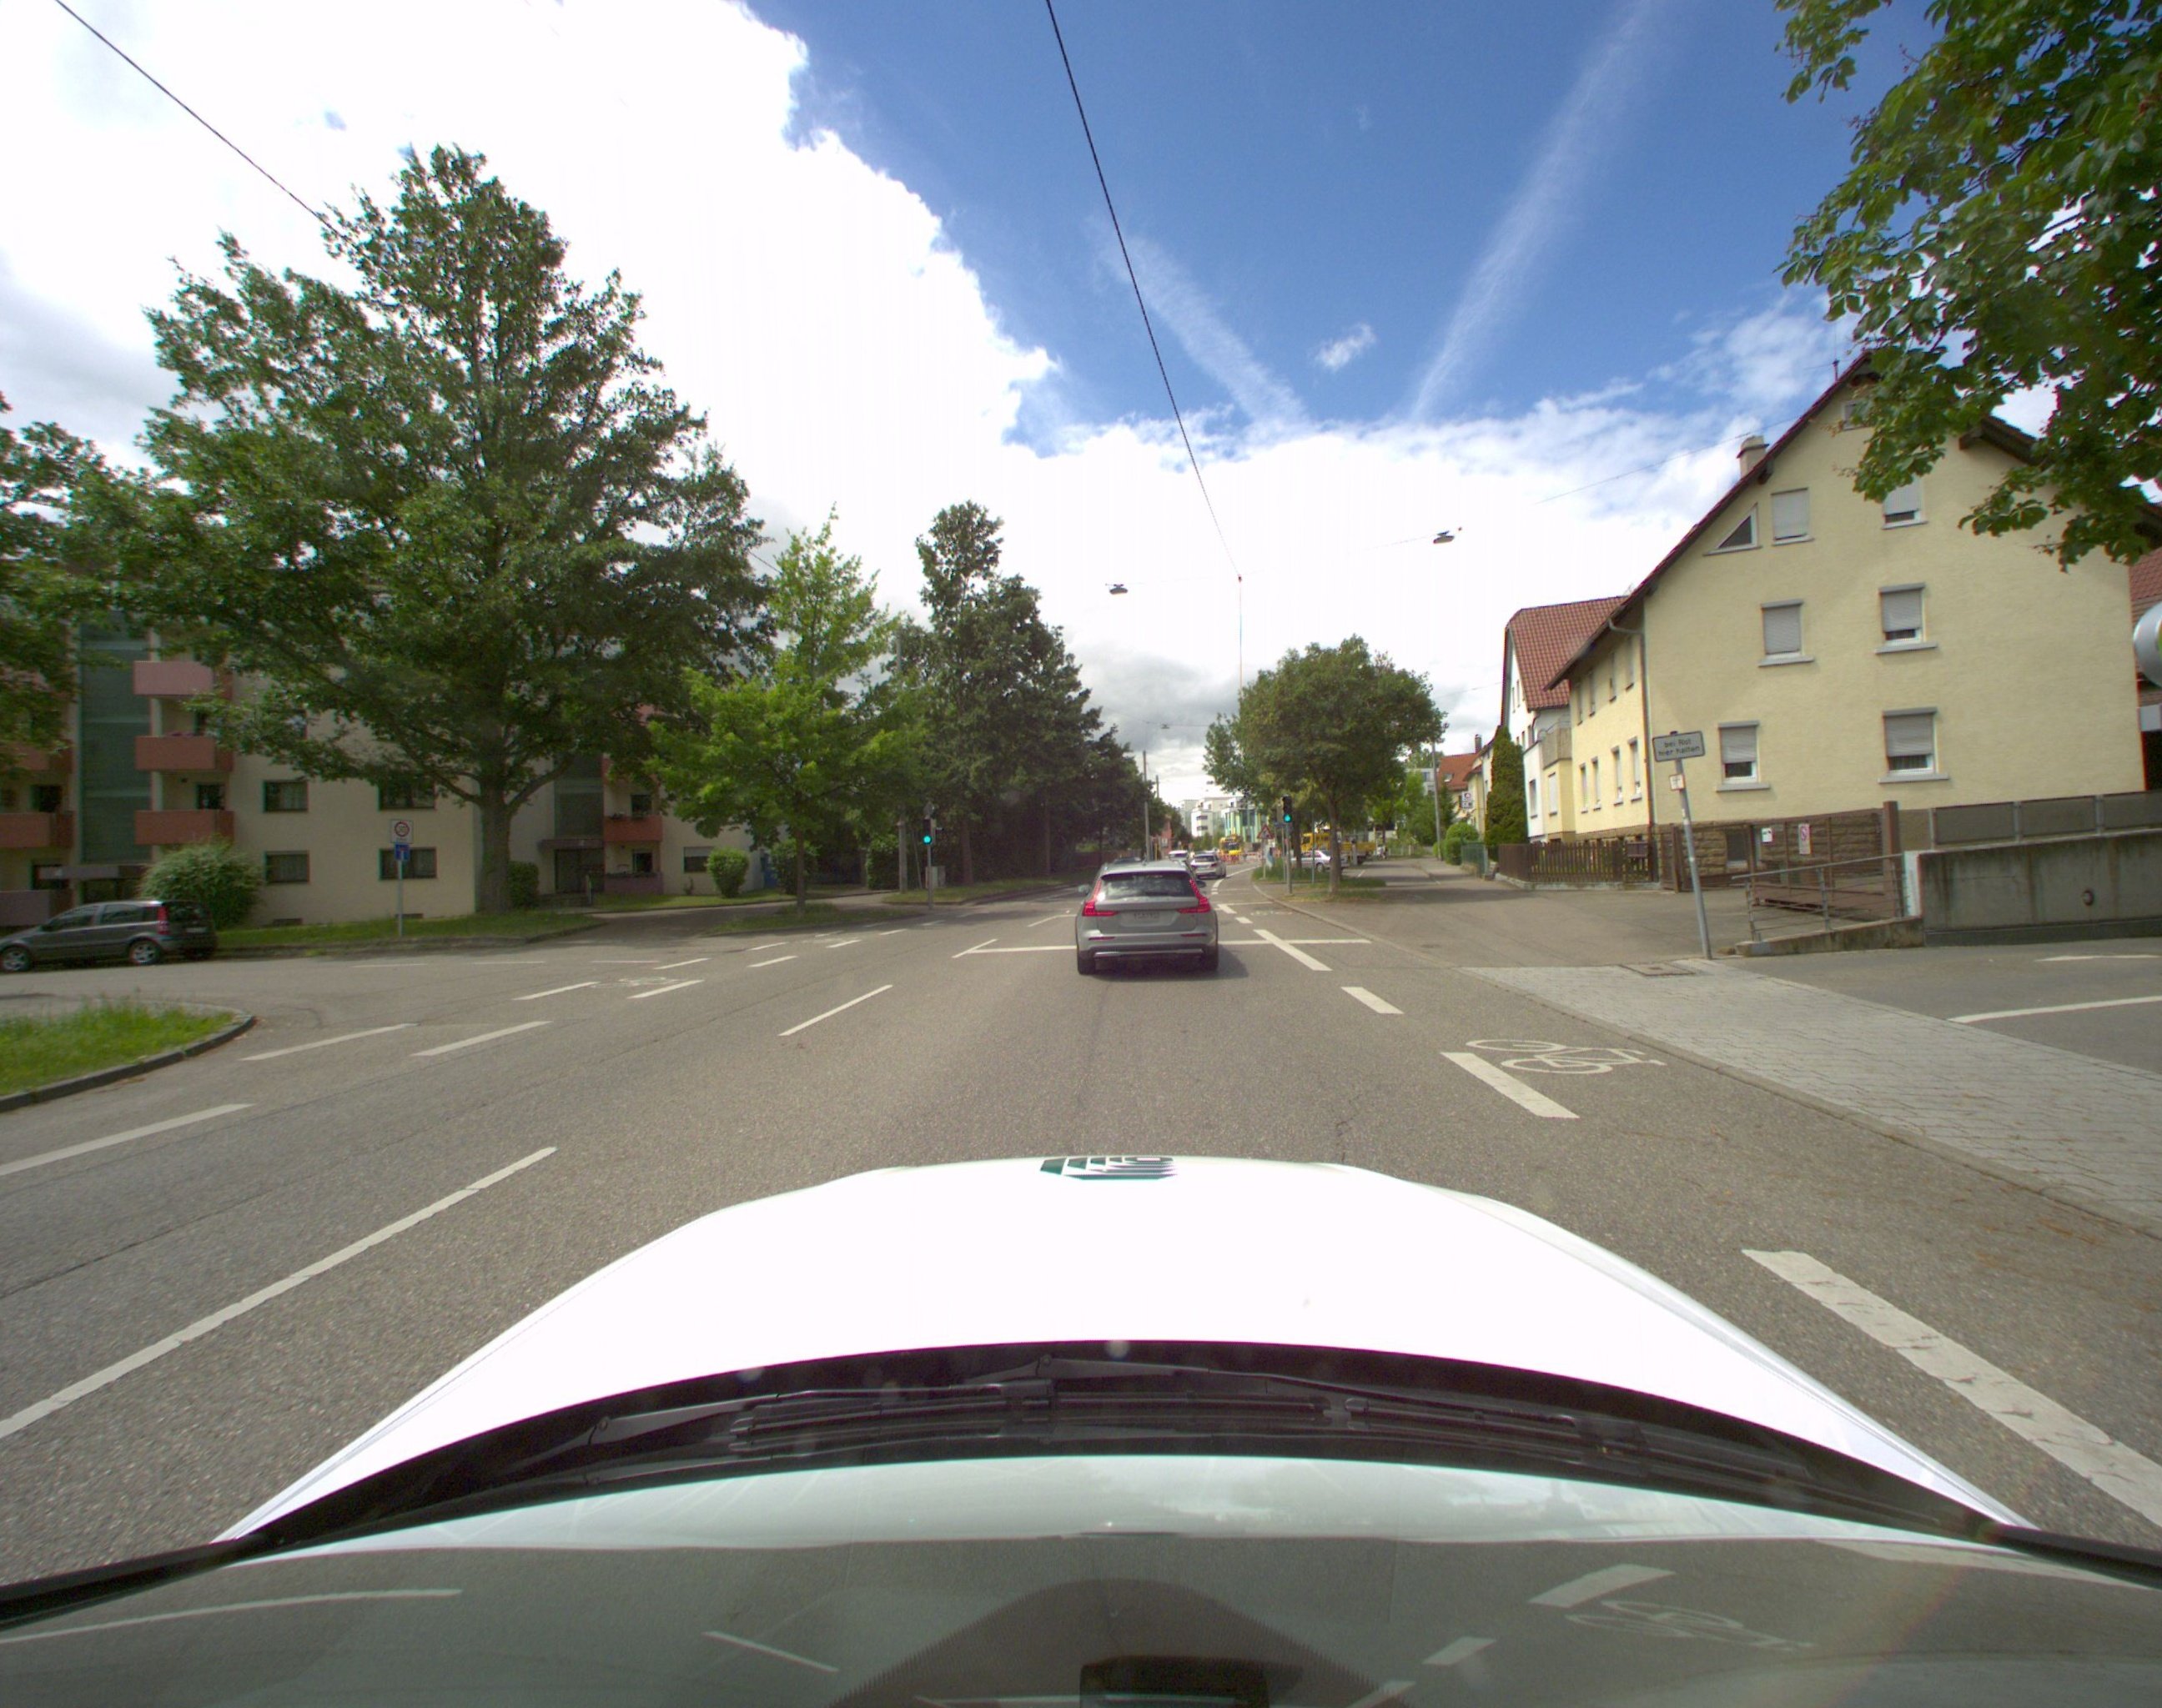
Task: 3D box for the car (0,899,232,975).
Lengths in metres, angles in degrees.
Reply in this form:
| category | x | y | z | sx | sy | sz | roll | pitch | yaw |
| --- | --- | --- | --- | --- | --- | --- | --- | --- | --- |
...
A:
| category | x | y | z | sx | sy | sz | roll | pitch | yaw |
| --- | --- | --- | --- | --- | --- | --- | --- | --- | --- |
| car | -22.946 | 1.910 | 18.988 | 3.996 | 1.452 | 1.687 | -2 | 0 | -16 |

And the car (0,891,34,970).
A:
| category | x | y | z | sx | sy | sz | roll | pitch | yaw |
| --- | --- | --- | --- | --- | --- | --- | --- | --- | --- |
| car | -27.251 | 1.905 | 18.464 | 3.990 | 1.844 | 1.838 | -3 | 0 | -12 |

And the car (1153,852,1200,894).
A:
| category | x | y | z | sx | sy | sz | roll | pitch | yaw |
| --- | --- | --- | --- | --- | --- | --- | --- | --- | --- |
| car | 3.644 | 0.714 | 31.453 | 1.654 | 1.508 | 3.706 | 1 | -1 | 4 |

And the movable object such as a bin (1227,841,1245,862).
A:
| category | x | y | z | sx | sy | sz | roll | pitch | yaw |
| --- | --- | --- | --- | --- | --- | --- | --- | --- | --- |
| movable object such as a bin | 20.559 | -0.365 | 107.808 | 2.020 | 2.643 | 5.961 | -3 | 0 | 13 |

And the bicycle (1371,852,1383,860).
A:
| category | x | y | z | sx | sy | sz | roll | pitch | yaw |
| --- | --- | --- | --- | --- | --- | --- | --- | --- | --- |
| bicycle | 28.530 | 0.201 | 78.523 | 0.592 | 0.812 | 1.754 | 0 | -1 | 1 |

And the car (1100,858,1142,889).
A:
| category | x | y | z | sx | sy | sz | roll | pitch | yaw |
| --- | --- | --- | --- | --- | --- | --- | --- | --- | --- |
| car | 2.306 | 1.087 | 46.176 | 1.888 | 1.580 | 4.010 | -3 | -1 | 9 |

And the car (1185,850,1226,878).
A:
| category | x | y | z | sx | sy | sz | roll | pitch | yaw |
| --- | --- | --- | --- | --- | --- | --- | --- | --- | --- |
| car | 7.288 | 0.583 | 47.504 | 2.088 | 1.510 | 4.013 | 1 | -1 | 12 |

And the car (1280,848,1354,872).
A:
| category | x | y | z | sx | sy | sz | roll | pitch | yaw |
| --- | --- | --- | --- | --- | --- | --- | --- | --- | --- |
| car | 15.216 | 0.412 | 52.760 | 1.774 | 1.451 | 4.644 | -1 | 0 | -30 |

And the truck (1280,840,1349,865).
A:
| category | x | y | z | sx | sy | sz | roll | pitch | yaw |
| --- | --- | --- | --- | --- | --- | --- | --- | --- | --- |
| truck | 19.269 | -0.092 | 67.454 | 2.008 | 2.014 | 5.618 | 1 | -1 | -34 |

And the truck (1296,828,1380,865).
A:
| category | x | y | z | sx | sy | sz | roll | pitch | yaw |
| --- | --- | --- | --- | --- | --- | --- | --- | --- | --- |
| truck | 21.712 | -0.543 | 69.088 | 2.780 | 3.008 | 6.638 | 1 | -1 | -32 |

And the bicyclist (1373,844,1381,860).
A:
| category | x | y | z | sx | sy | sz | roll | pitch | yaw |
| --- | --- | --- | --- | --- | --- | --- | --- | --- | --- |
| bicyclist | 28.551 | -0.212 | 78.596 | 0.587 | 1.559 | 0.566 | 0 | -1 | 0 |

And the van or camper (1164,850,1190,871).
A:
| category | x | y | z | sx | sy | sz | roll | pitch | yaw |
| --- | --- | --- | --- | --- | --- | --- | --- | --- | --- |
| van or camper | 8.549 | 0.548 | 72.304 | 1.848 | 1.776 | 4.394 | -2 | 0 | 11 |

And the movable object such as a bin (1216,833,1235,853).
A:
| category | x | y | z | sx | sy | sz | roll | pitch | yaw |
| --- | --- | --- | --- | --- | --- | --- | --- | --- | --- |
| movable object such as a bin | 23.260 | -1.740 | 131.034 | 2.299 | 2.990 | 6.435 | -3 | 0 | 5 |

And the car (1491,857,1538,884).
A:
| category | x | y | z | sx | sy | sz | roll | pitch | yaw |
| --- | --- | --- | --- | --- | --- | --- | --- | --- | --- |
| car | 18.943 | 0.709 | 35.715 | 1.449 | 1.124 | 3.892 | 0 | -1 | 23 |

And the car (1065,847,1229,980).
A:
| category | x | y | z | sx | sy | sz | roll | pitch | yaw |
| --- | --- | --- | --- | --- | --- | --- | --- | --- | --- |
| car | 0.986 | 0.751 | 11.850 | 1.918 | 1.540 | 4.006 | -2 | -1 | 5 |

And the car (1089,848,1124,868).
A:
| category | x | y | z | sx | sy | sz | roll | pitch | yaw |
| --- | --- | --- | --- | --- | --- | --- | --- | --- | --- |
| car | 1.834 | 0.311 | 57.578 | 1.817 | 1.330 | 4.011 | 0 | -2 | 11 |
